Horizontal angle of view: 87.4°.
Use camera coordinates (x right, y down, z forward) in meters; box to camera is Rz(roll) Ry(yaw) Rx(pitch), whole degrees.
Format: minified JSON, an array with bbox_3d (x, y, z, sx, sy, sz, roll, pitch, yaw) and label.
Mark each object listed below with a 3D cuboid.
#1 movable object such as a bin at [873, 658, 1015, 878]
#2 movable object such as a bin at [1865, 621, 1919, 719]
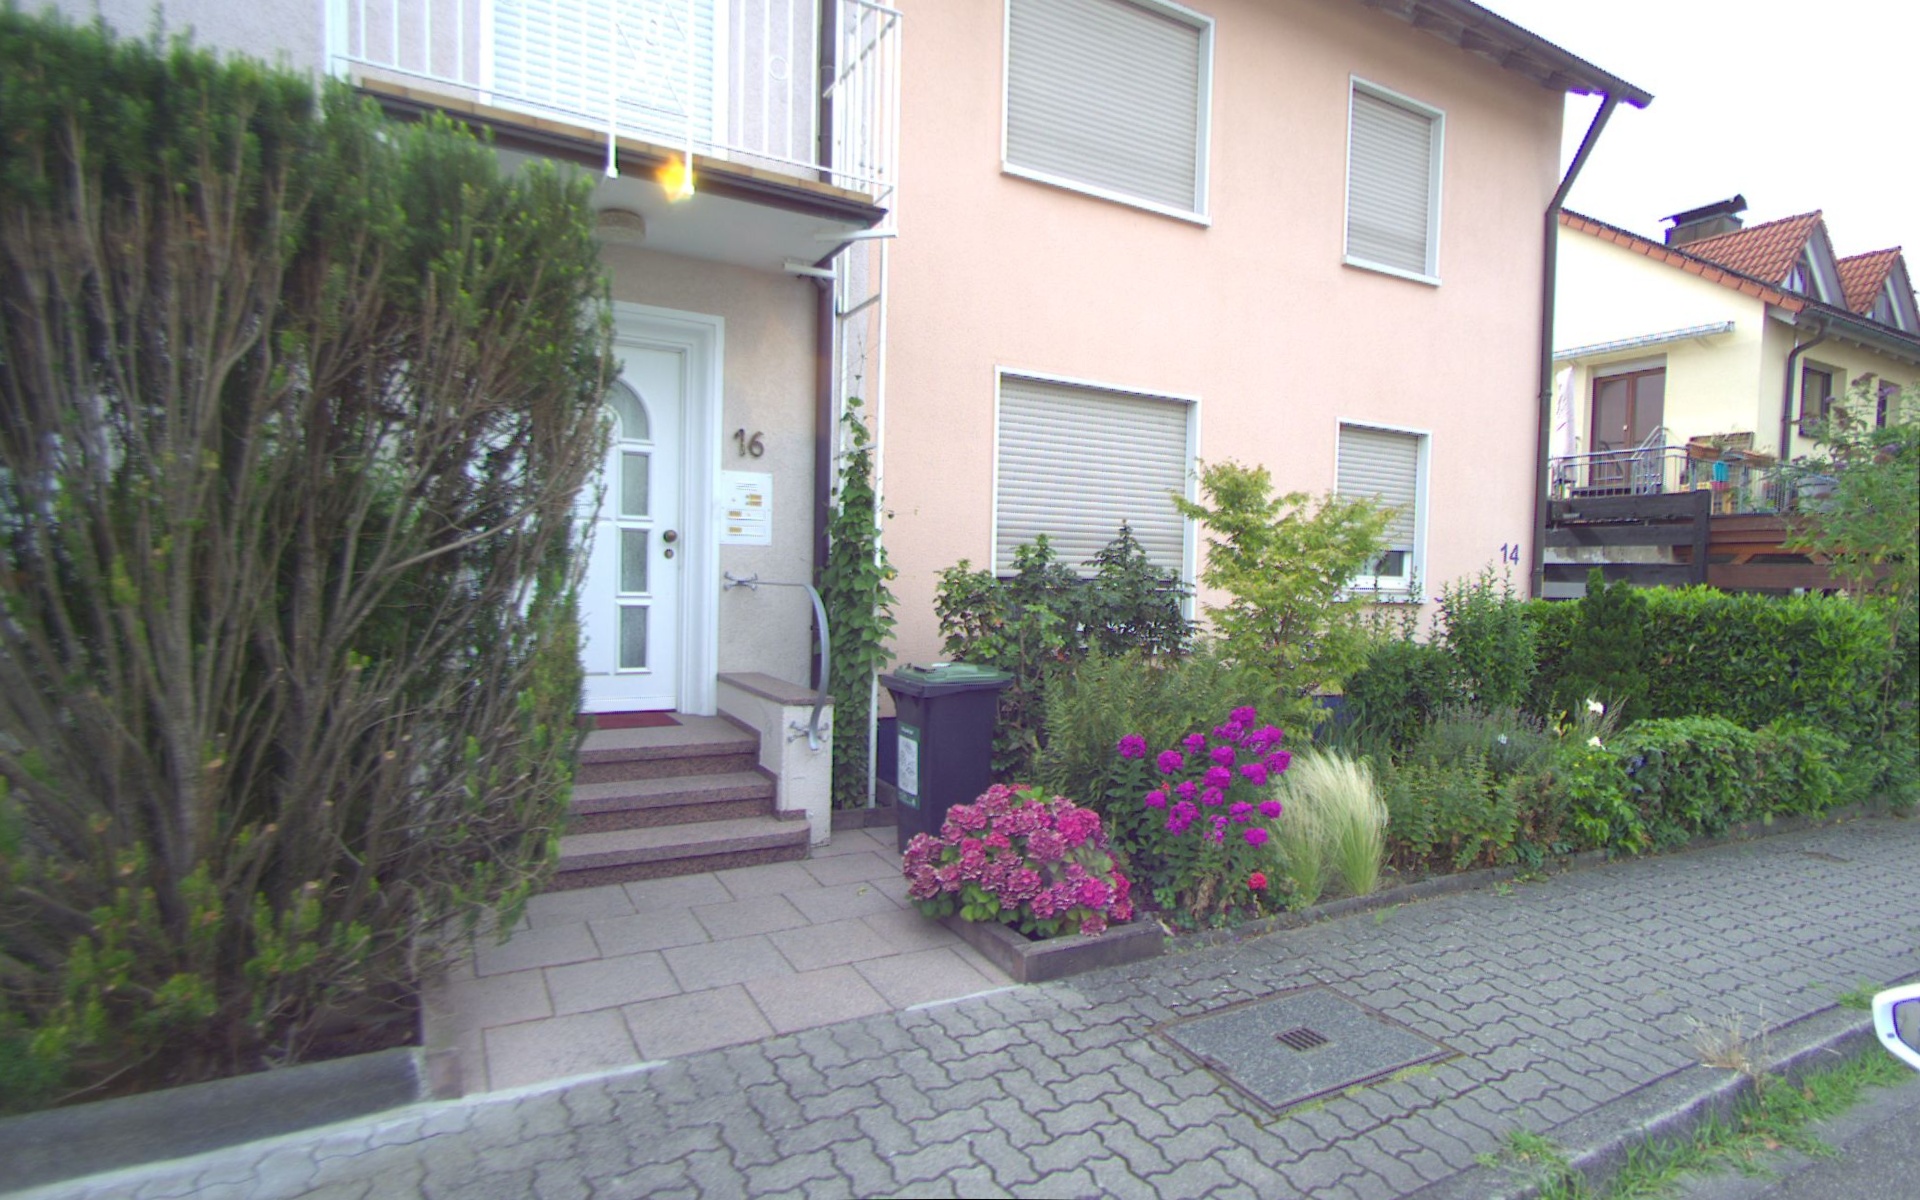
[{"bbox_3d":[-0.083,0.773,4.832,0.500,0.943,0.486,0,1,-30],"label":"movable object such as a bin"},{"bbox_3d":[11.573,0.829,12.143,0.867,1.145,0.700,1,0,-29],"label":"movable object such as a bin"}]
